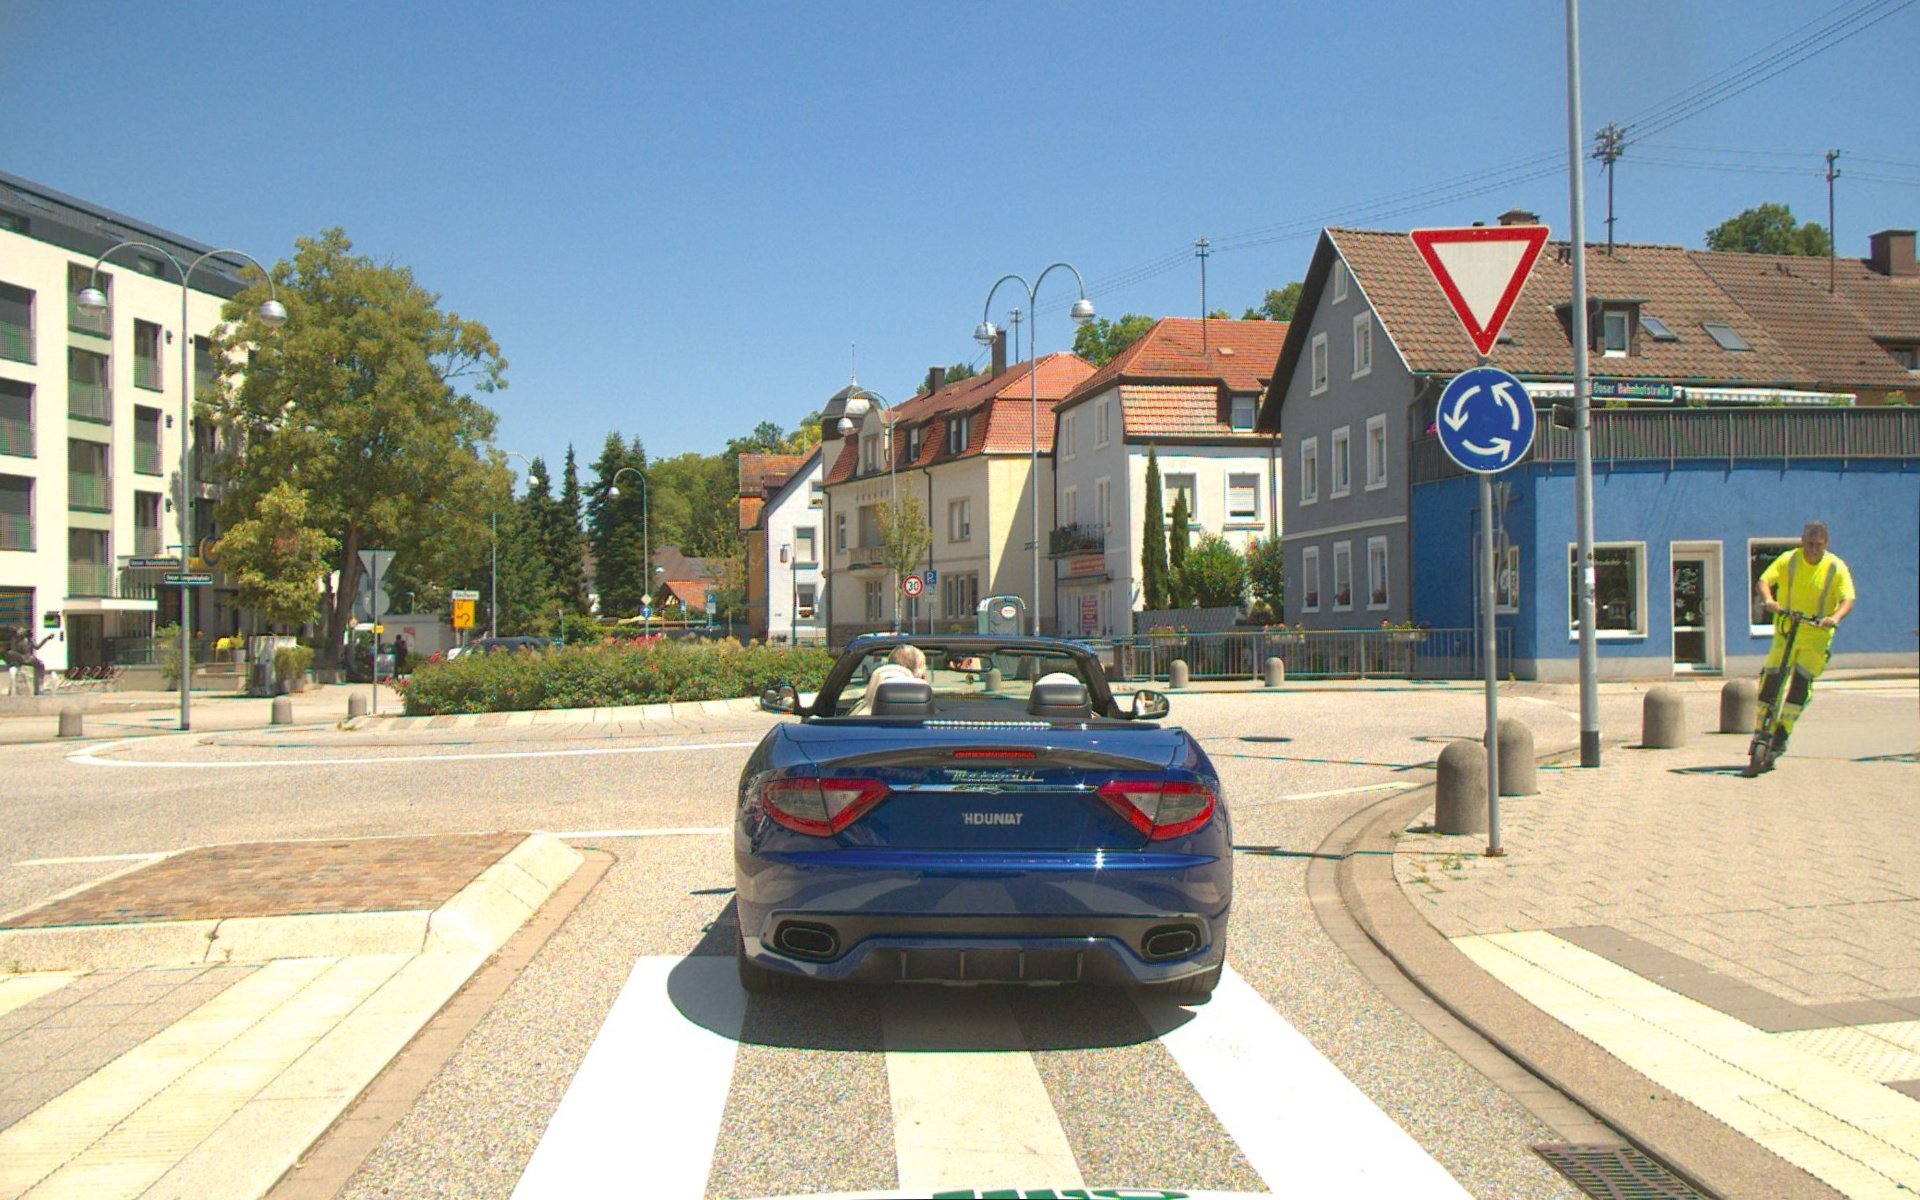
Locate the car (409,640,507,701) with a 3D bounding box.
[{"bbox_3d":[-13.385,1.849,44.312,1.956,1.536,3.992,0,-1,-9],"label":"car"}]

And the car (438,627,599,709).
[{"bbox_3d":[-9.742,1.473,36.812,1.759,1.671,4.062,-2,-1,12],"label":"car"}]

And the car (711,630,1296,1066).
[{"bbox_3d":[0.160,0.833,7.452,1.871,1.384,4.285,0,-1,0],"label":"car"}]

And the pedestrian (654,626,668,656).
[{"bbox_3d":[-16.269,2.237,89.931,0.604,1.613,0.582,-1,-1,-27],"label":"pedestrian"}]

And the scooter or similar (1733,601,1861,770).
[{"bbox_3d":[6.490,0.640,12.870,0.517,1.244,1.241,-2,-1,10],"label":"scooter or similar"}]

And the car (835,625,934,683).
[{"bbox_3d":[-2.386,1.692,51.288,1.890,1.641,4.122,-1,-2,-20],"label":"car"}]

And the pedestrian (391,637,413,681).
[{"bbox_3d":[-20.891,2.215,61.904,0.523,1.603,0.563,-2,-1,10],"label":"pedestrian"}]

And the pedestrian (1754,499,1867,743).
[{"bbox_3d":[6.617,0.161,12.856,0.665,1.831,0.737,-3,0,31],"label":"pedestrian"}]

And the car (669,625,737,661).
[{"bbox_3d":[-12.186,2.042,78.295,1.831,1.616,3.958,-2,-1,-31],"label":"car"}]
